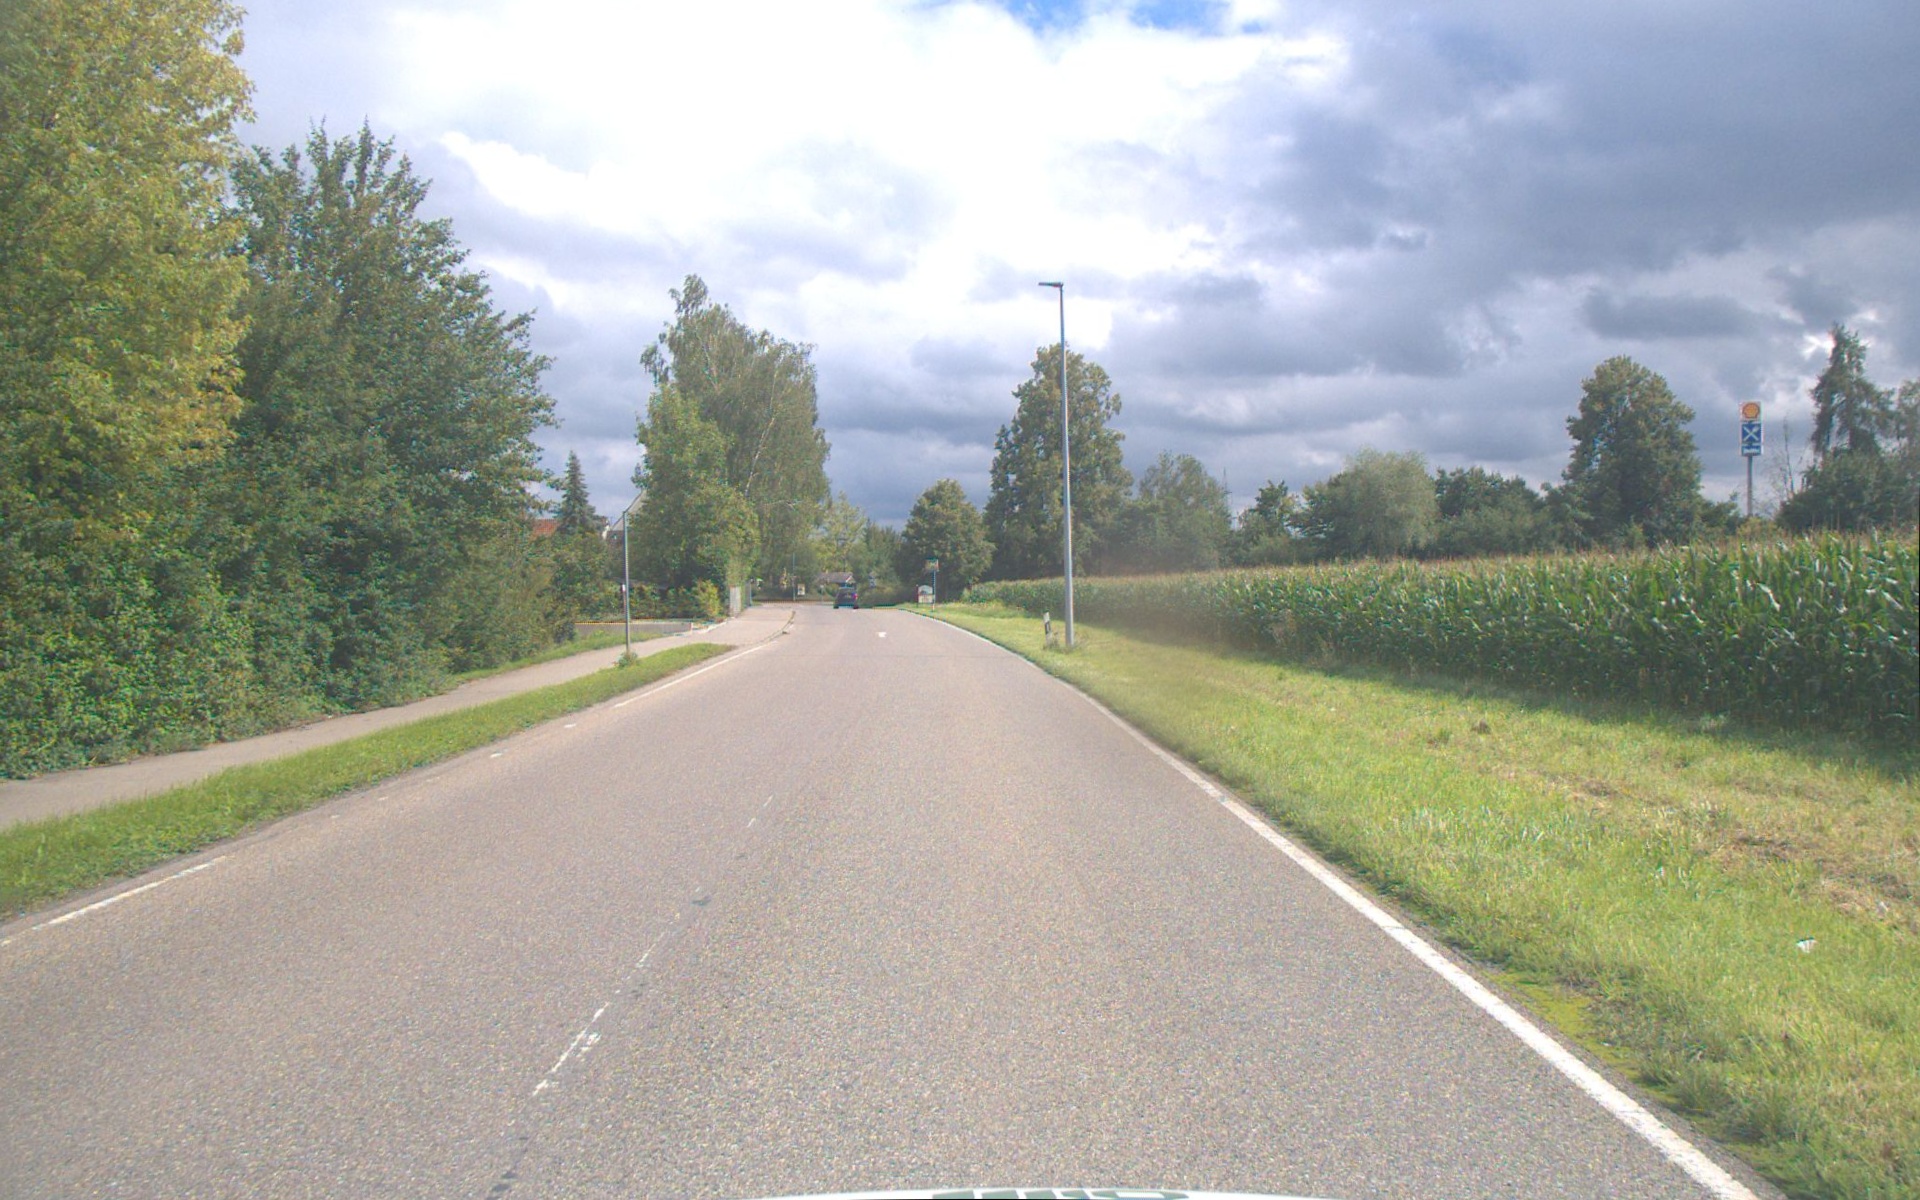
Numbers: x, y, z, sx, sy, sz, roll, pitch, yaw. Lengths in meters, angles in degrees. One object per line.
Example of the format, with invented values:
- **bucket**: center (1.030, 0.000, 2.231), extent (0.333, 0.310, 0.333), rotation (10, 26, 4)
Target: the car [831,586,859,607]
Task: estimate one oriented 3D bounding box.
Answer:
- **car**: center (-9.068, -0.271, 130.176), extent (1.956, 1.613, 3.994), rotation (1, 0, -7)
